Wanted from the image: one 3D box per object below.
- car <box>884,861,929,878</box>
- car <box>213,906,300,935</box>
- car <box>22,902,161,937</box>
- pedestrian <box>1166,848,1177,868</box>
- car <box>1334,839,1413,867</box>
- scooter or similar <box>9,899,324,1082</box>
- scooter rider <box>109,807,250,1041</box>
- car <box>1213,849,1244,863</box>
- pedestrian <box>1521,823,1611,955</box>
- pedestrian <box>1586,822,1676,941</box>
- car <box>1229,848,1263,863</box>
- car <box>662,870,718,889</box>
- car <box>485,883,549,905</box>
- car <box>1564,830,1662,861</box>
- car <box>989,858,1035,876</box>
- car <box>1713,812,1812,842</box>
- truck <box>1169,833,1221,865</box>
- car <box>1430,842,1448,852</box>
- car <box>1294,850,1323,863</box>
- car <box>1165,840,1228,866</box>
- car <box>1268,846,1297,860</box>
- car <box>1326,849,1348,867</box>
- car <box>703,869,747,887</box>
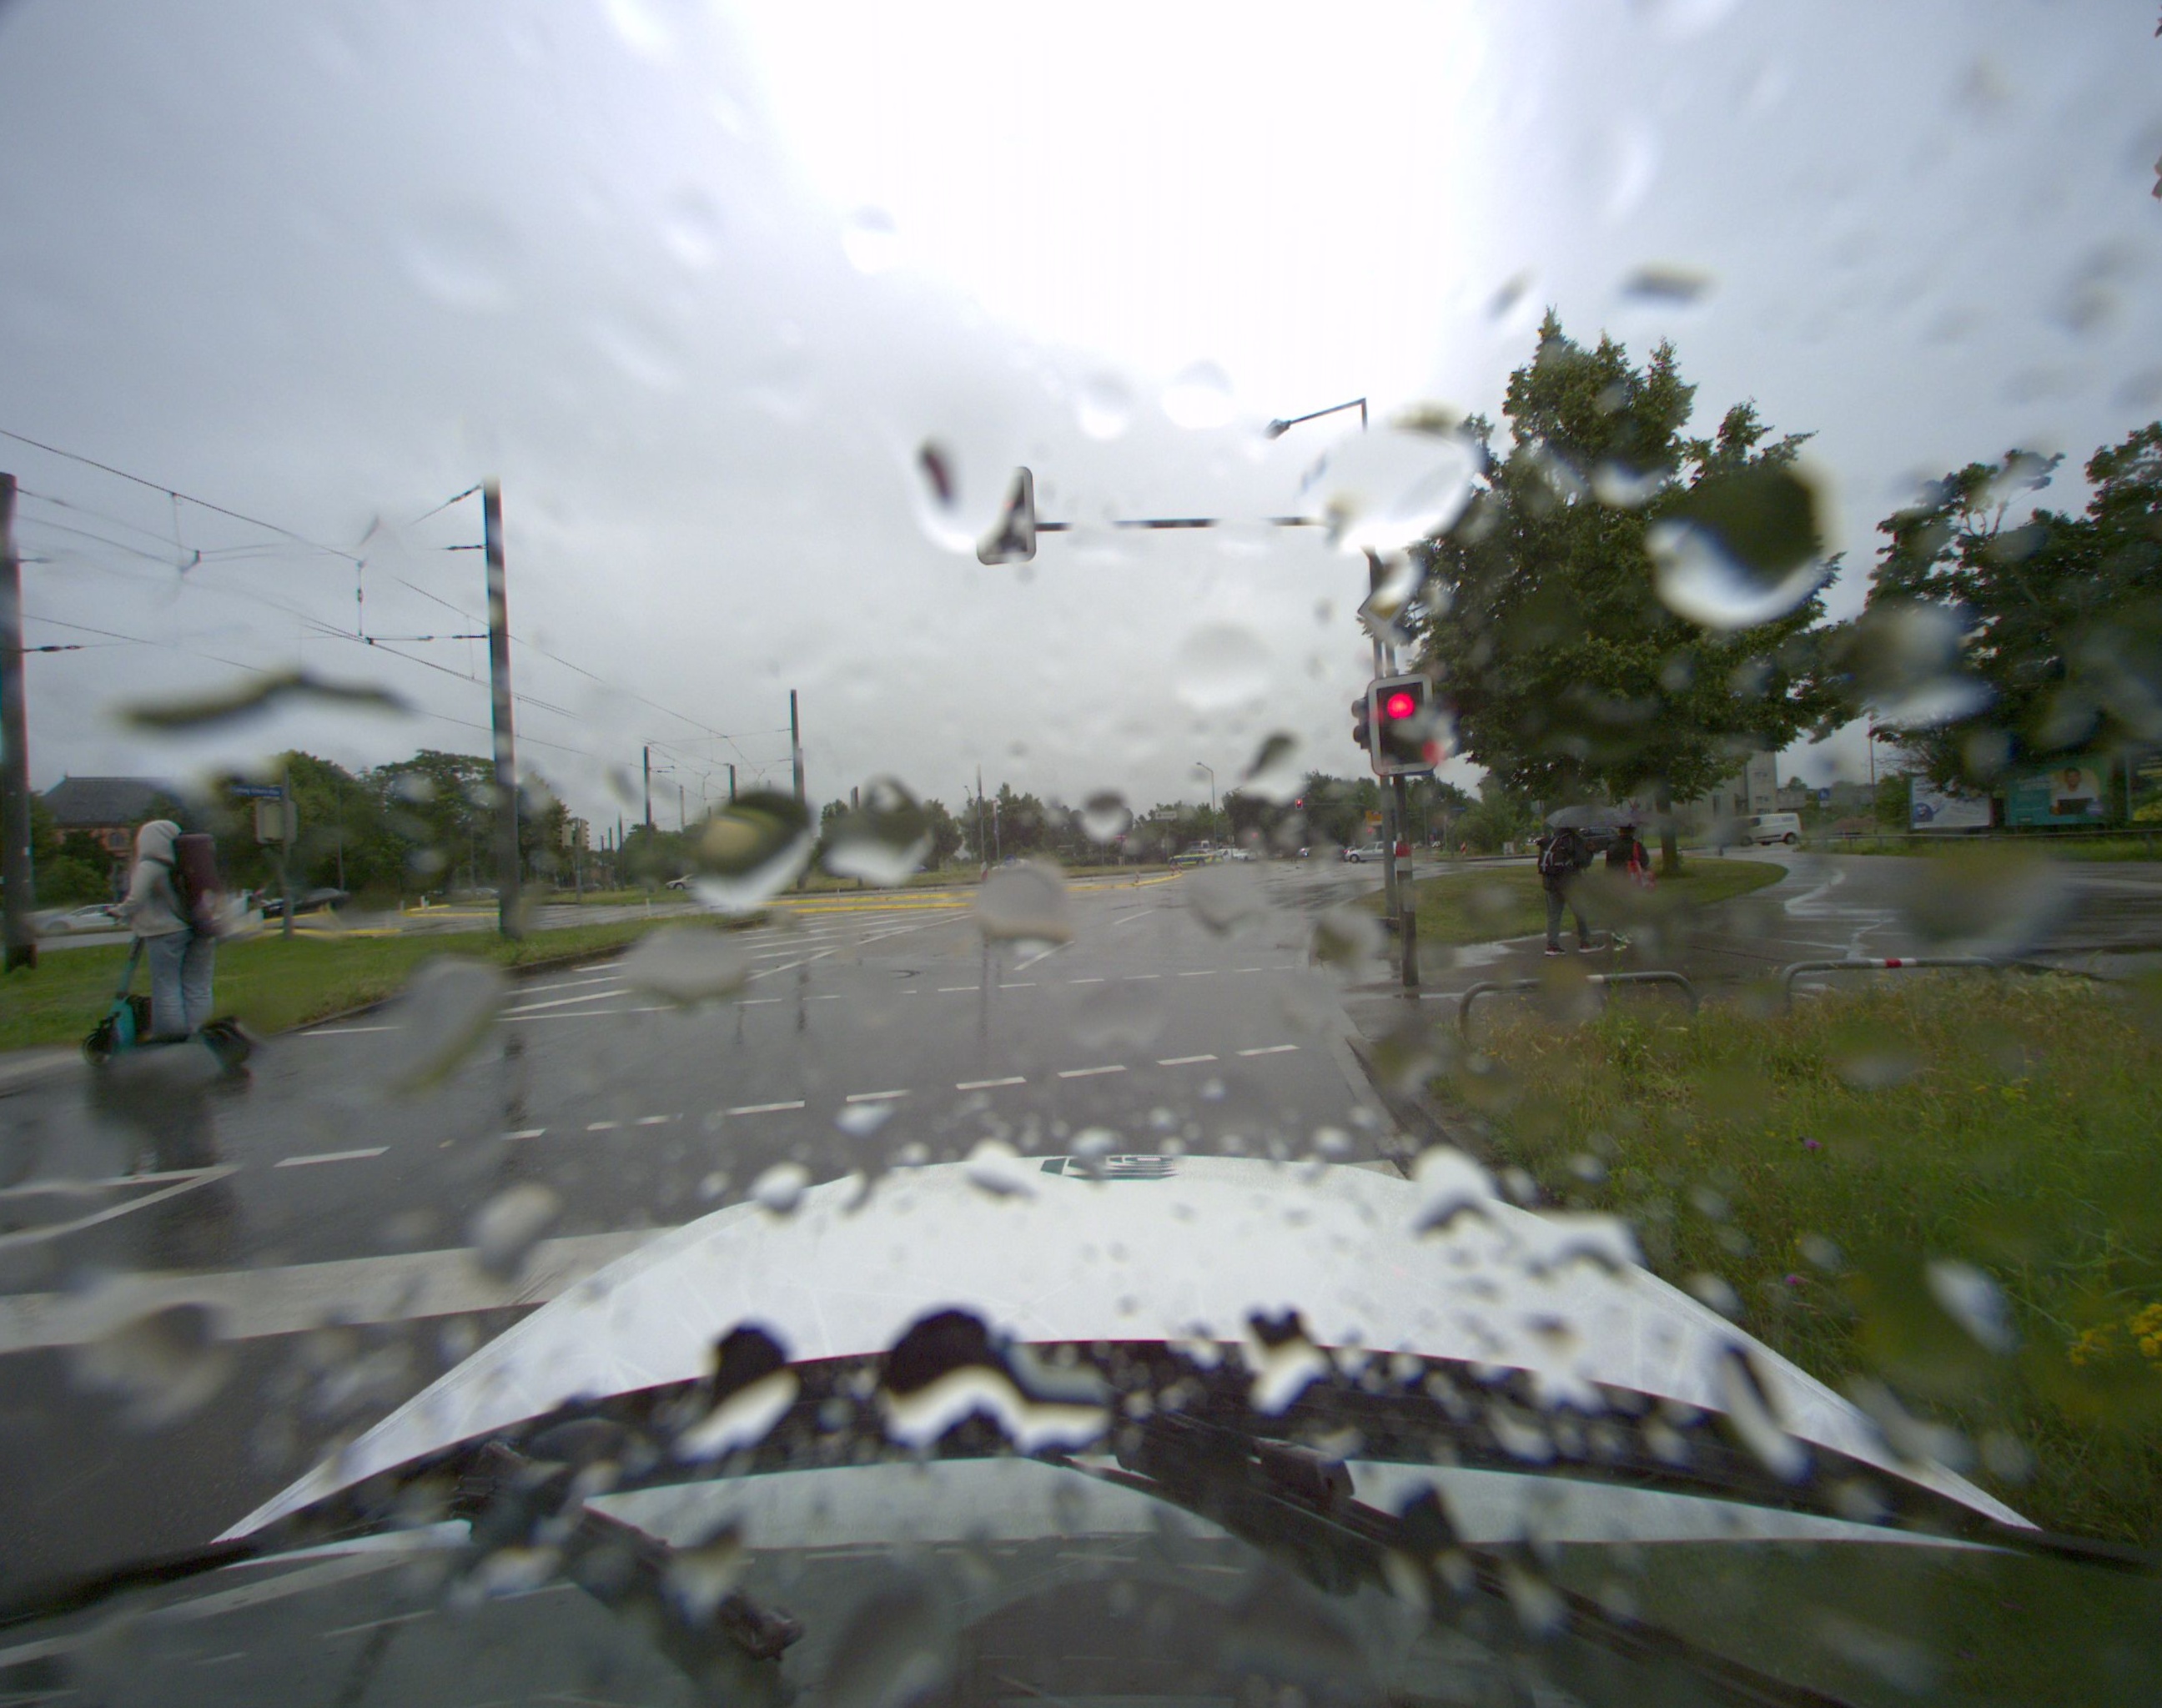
[{"bbox_3d":[-17.120,1.497,80.152,3.957,1.454,1.625,-2,0,3],"label":"car"},{"bbox_3d":[-51.857,4.166,51.277,1.602,1.543,3.504,-1,-1,29],"label":"car"},{"bbox_3d":[-53.808,3.533,44.398,1.602,1.454,4.653,-3,0,35],"label":"car"},{"bbox_3d":[6.025,0.257,54.361,0.448,1.304,0.489,-3,-1,40],"label":"pedestrian"},{"bbox_3d":[20.031,-0.032,55.862,4.714,1.851,2.012,-1,-1,39],"label":"car"},{"bbox_3d":[-6.953,0.999,6.269,1.589,1.259,0.445,0,-1,-17],"label":"scooter or similar"},{"bbox_3d":[-6.943,0.515,6.292,0.532,1.709,0.432,-3,-1,-16],"label":"scooter rider"},{"bbox_3d":[17.595,0.227,97.038,1.779,1.662,4.159,-1,-2,43],"label":"car"},{"bbox_3d":[5.810,0.410,9.792,0.619,1.522,0.741,-1,0,0],"label":"pedestrian"},{"bbox_3d":[7.121,0.346,10.574,0.678,1.461,0.573,-3,-1,-3],"label":"pedestrian"},{"bbox_3d":[19.108,0.171,94.320,1.779,1.662,4.436,-1,-2,43],"label":"car"},{"bbox_3d":[-34.214,2.209,71.283,4.134,1.454,1.604,-2,0,-40],"label":"car"},{"bbox_3d":[-46.018,3.250,66.571,1.604,1.454,4.009,-2,0,22],"label":"car"},{"bbox_3d":[33.248,-0.532,51.020,4.732,1.851,2.005,0,-1,9],"label":"car"},{"bbox_3d":[-6.502,1.224,77.215,3.947,1.454,1.629,-2,0,12],"label":"car"},{"bbox_3d":[43.226,-1.703,51.724,4.748,1.851,1.998,0,-1,-3],"label":"car"},{"bbox_3d":[10.533,-0.362,74.543,2.439,2.686,8.105,-1,-1,25],"label":"truck"},{"bbox_3d":[63.176,-1.154,143.620,1.779,1.662,4.024,-1,-2,43],"label":"car"},{"bbox_3d":[29.536,0.322,105.792,1.779,1.662,4.436,-1,-2,43],"label":"car"},{"bbox_3d":[9.091,-0.036,64.281,2.011,1.851,4.719,-2,0,-41],"label":"car"},{"bbox_3d":[26.745,-0.091,108.010,1.779,1.662,4.437,-3,-1,43],"label":"car"},{"bbox_3d":[22.206,0.317,70.720,1.606,1.454,4.003,-2,0,14],"label":"car"},{"bbox_3d":[-37.449,2.540,85.675,1.660,1.816,4.025,-1,-1,31],"label":"car"}]
